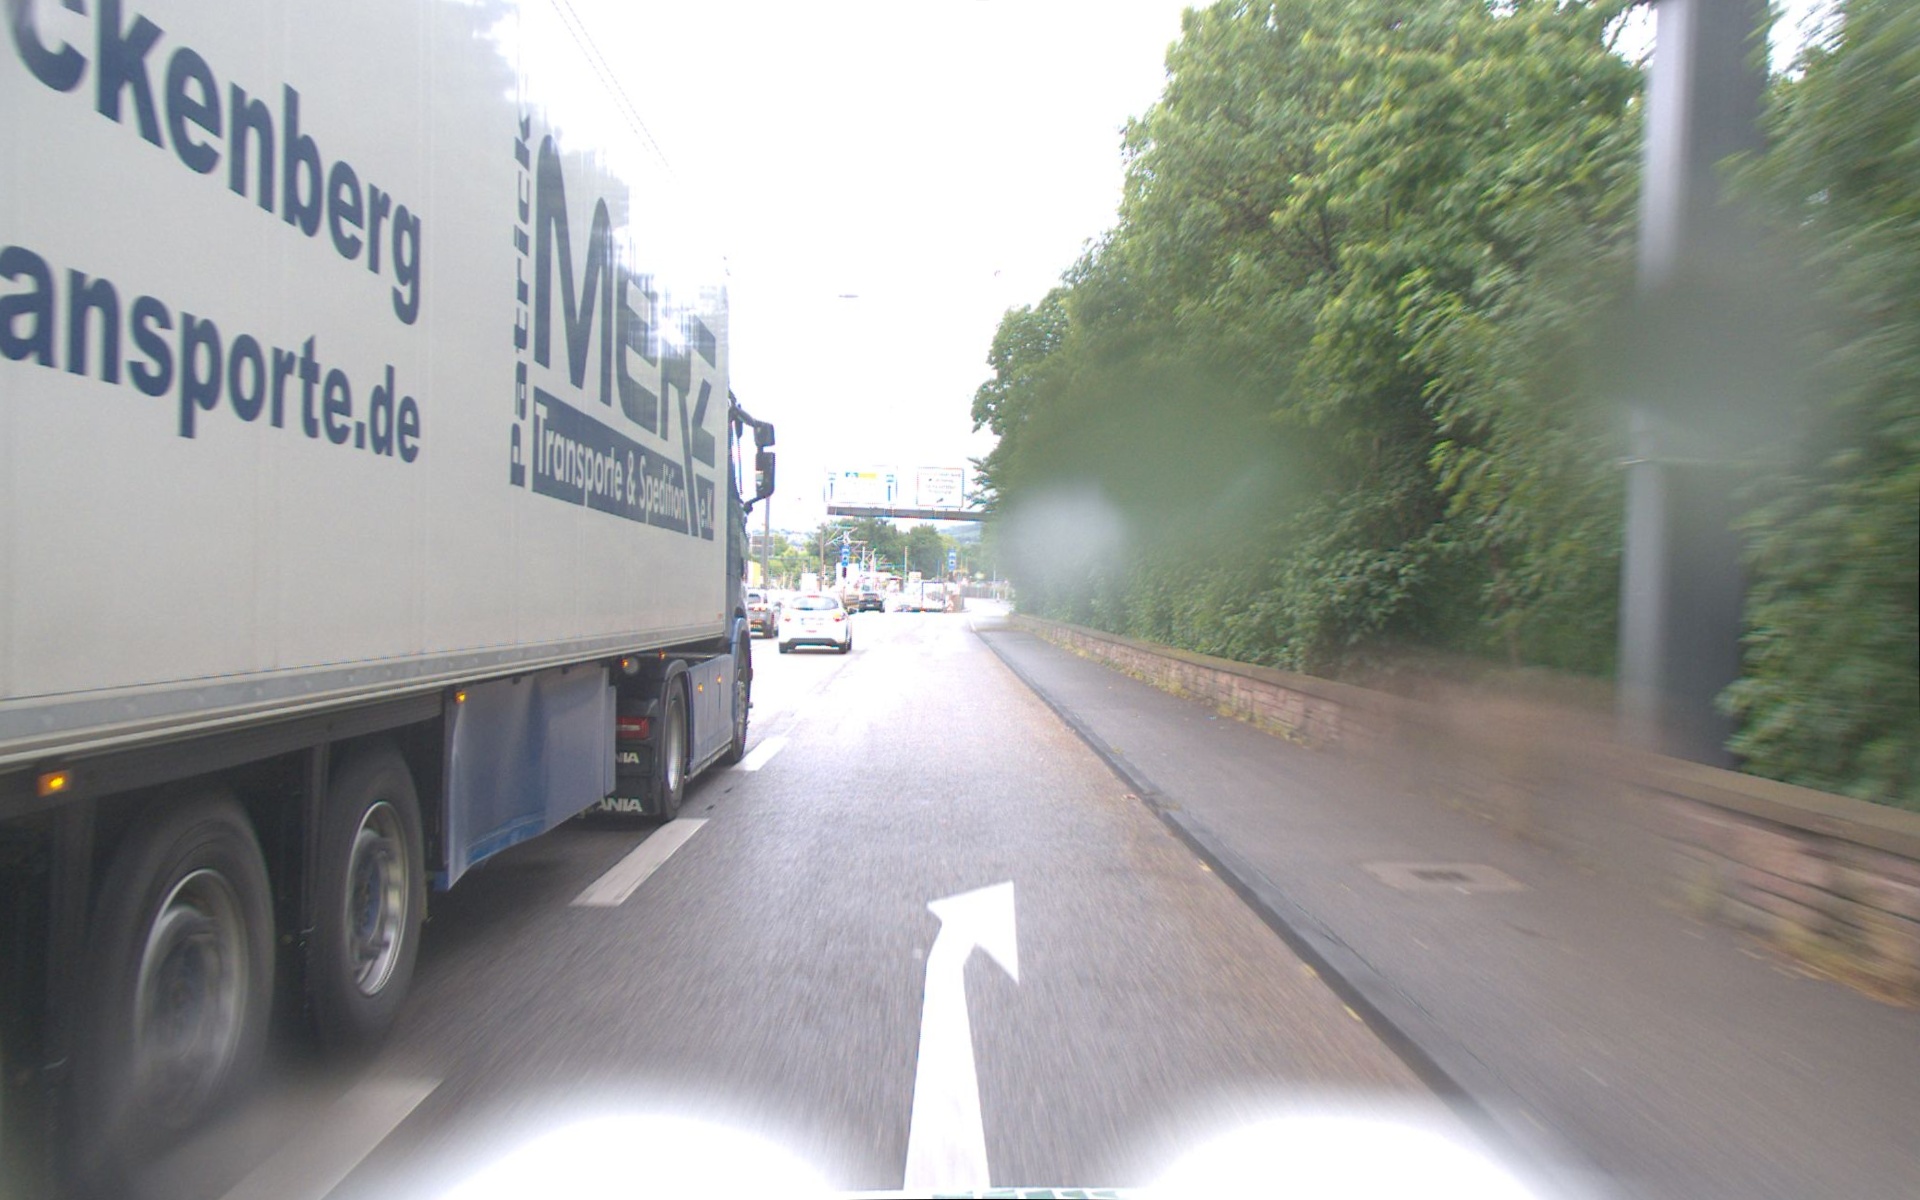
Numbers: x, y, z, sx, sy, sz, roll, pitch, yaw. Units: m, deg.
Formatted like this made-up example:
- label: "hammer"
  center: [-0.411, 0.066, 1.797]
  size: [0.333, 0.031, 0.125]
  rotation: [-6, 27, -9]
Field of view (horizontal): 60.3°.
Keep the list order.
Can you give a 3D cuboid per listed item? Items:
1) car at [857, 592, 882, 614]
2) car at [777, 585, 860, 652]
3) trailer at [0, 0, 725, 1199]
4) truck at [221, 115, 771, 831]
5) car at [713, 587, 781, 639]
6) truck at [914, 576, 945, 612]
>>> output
- label: "car"
  center: [-6.565, 0.218, 119.874]
  size: [1.656, 1.534, 3.767]
  rotation: [1, 0, -1]
- label: "car"
  center: [-3.485, 0.423, 41.327]
  size: [1.773, 1.448, 4.000]
  rotation: [1, 2, -1]
- label: "trailer"
  center: [-2.946, -0.712, 5.731]
  size: [2.706, 4.327, 13.179]
  rotation: [0, 0, -2]
- label: "truck"
  center: [-3.137, -0.769, 13.076]
  size: [2.700, 4.278, 6.304]
  rotation: [0, 0, -2]
- label: "car"
  center: [-6.695, 0.380, 52.330]
  size: [1.647, 1.471, 4.000]
  rotation: [1, 2, -1]
- label: "truck"
  center: [-3.530, -0.679, 194.406]
  size: [3.447, 4.110, 8.072]
  rotation: [1, 0, -1]
